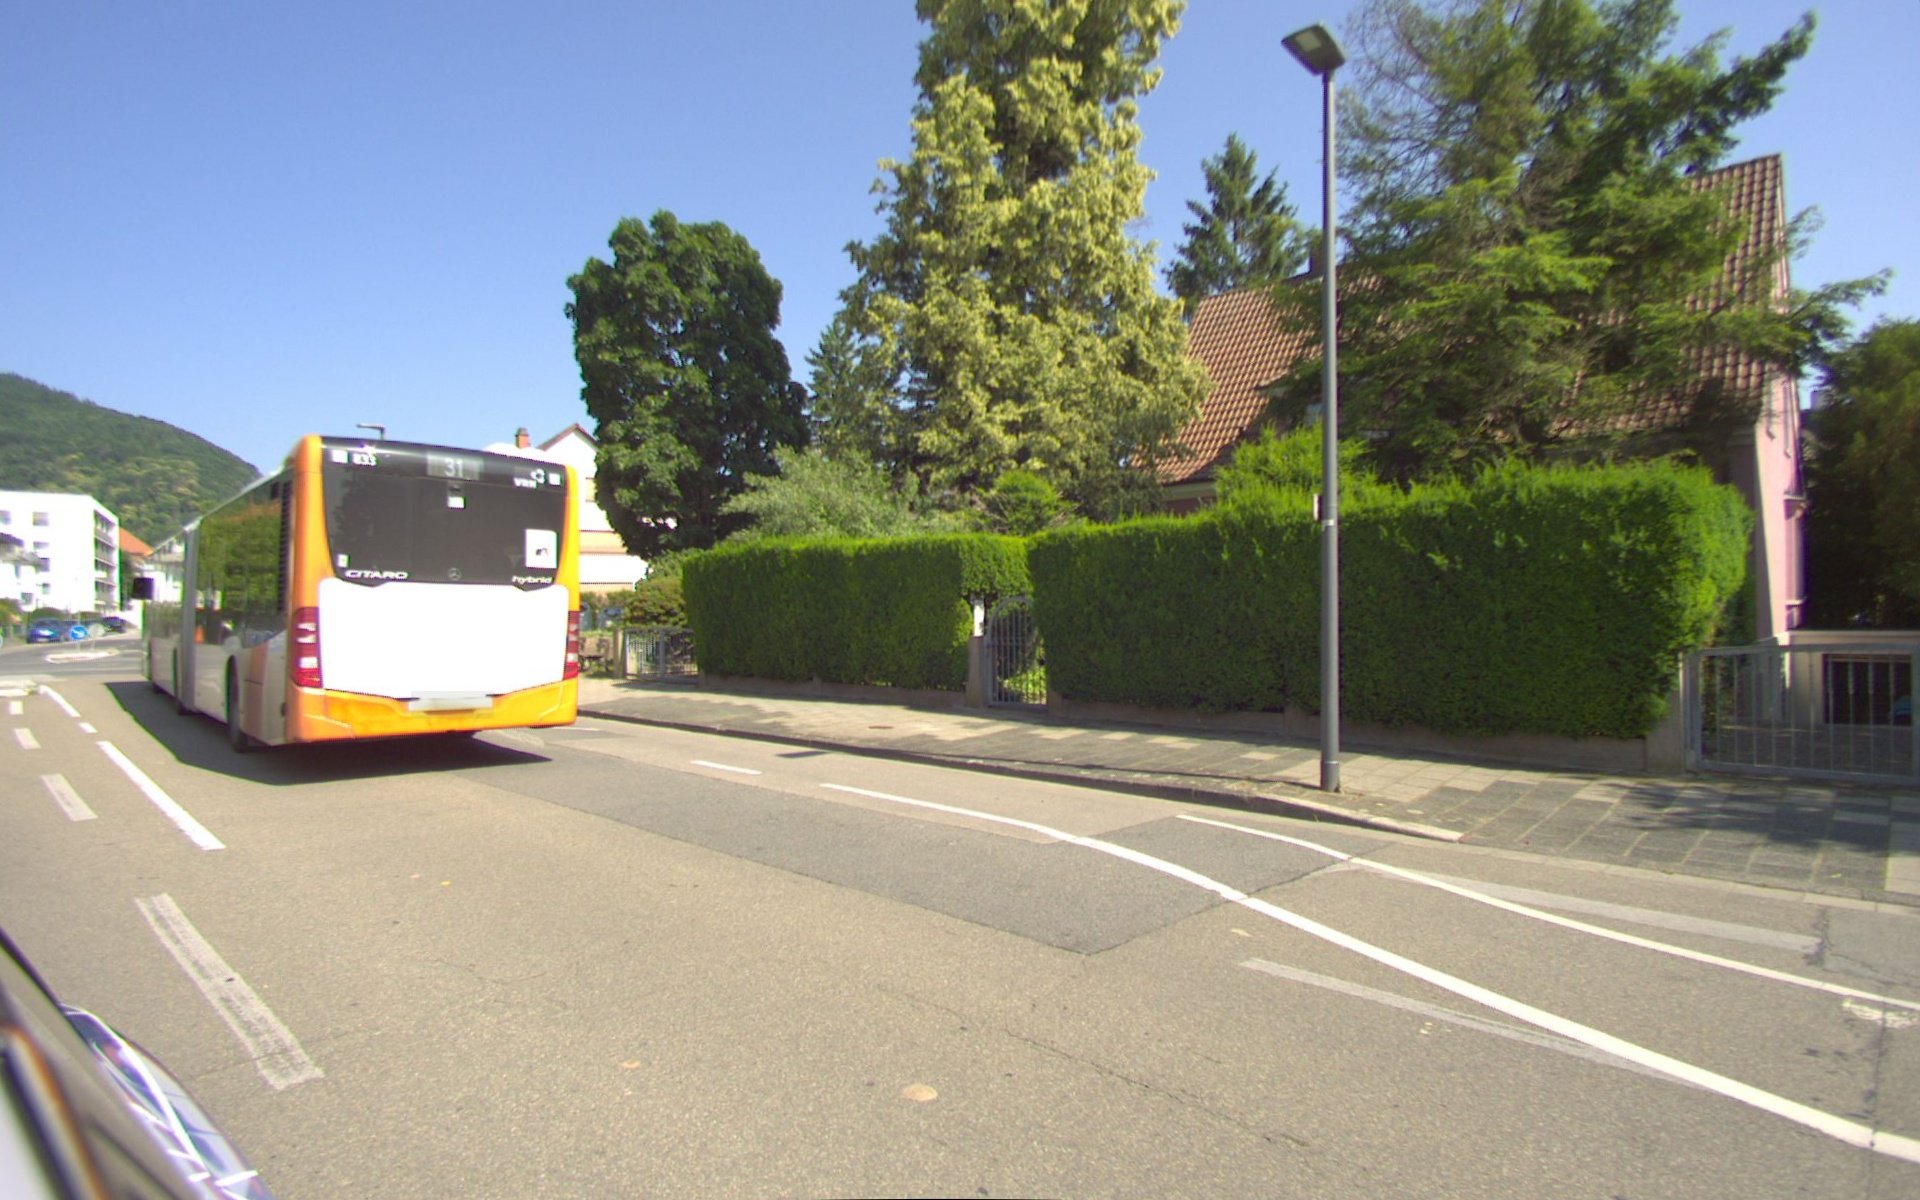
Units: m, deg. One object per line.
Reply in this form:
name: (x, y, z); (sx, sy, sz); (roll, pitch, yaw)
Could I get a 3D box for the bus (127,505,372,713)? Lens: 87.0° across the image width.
bus: (-14.456, 0.264, 20.127); (2.712, 3.198, 9.789); (2, -3, -42)

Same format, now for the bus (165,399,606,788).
bus: (-7.877, 0.062, 12.863); (2.712, 3.198, 9.789); (2, -3, -42)
